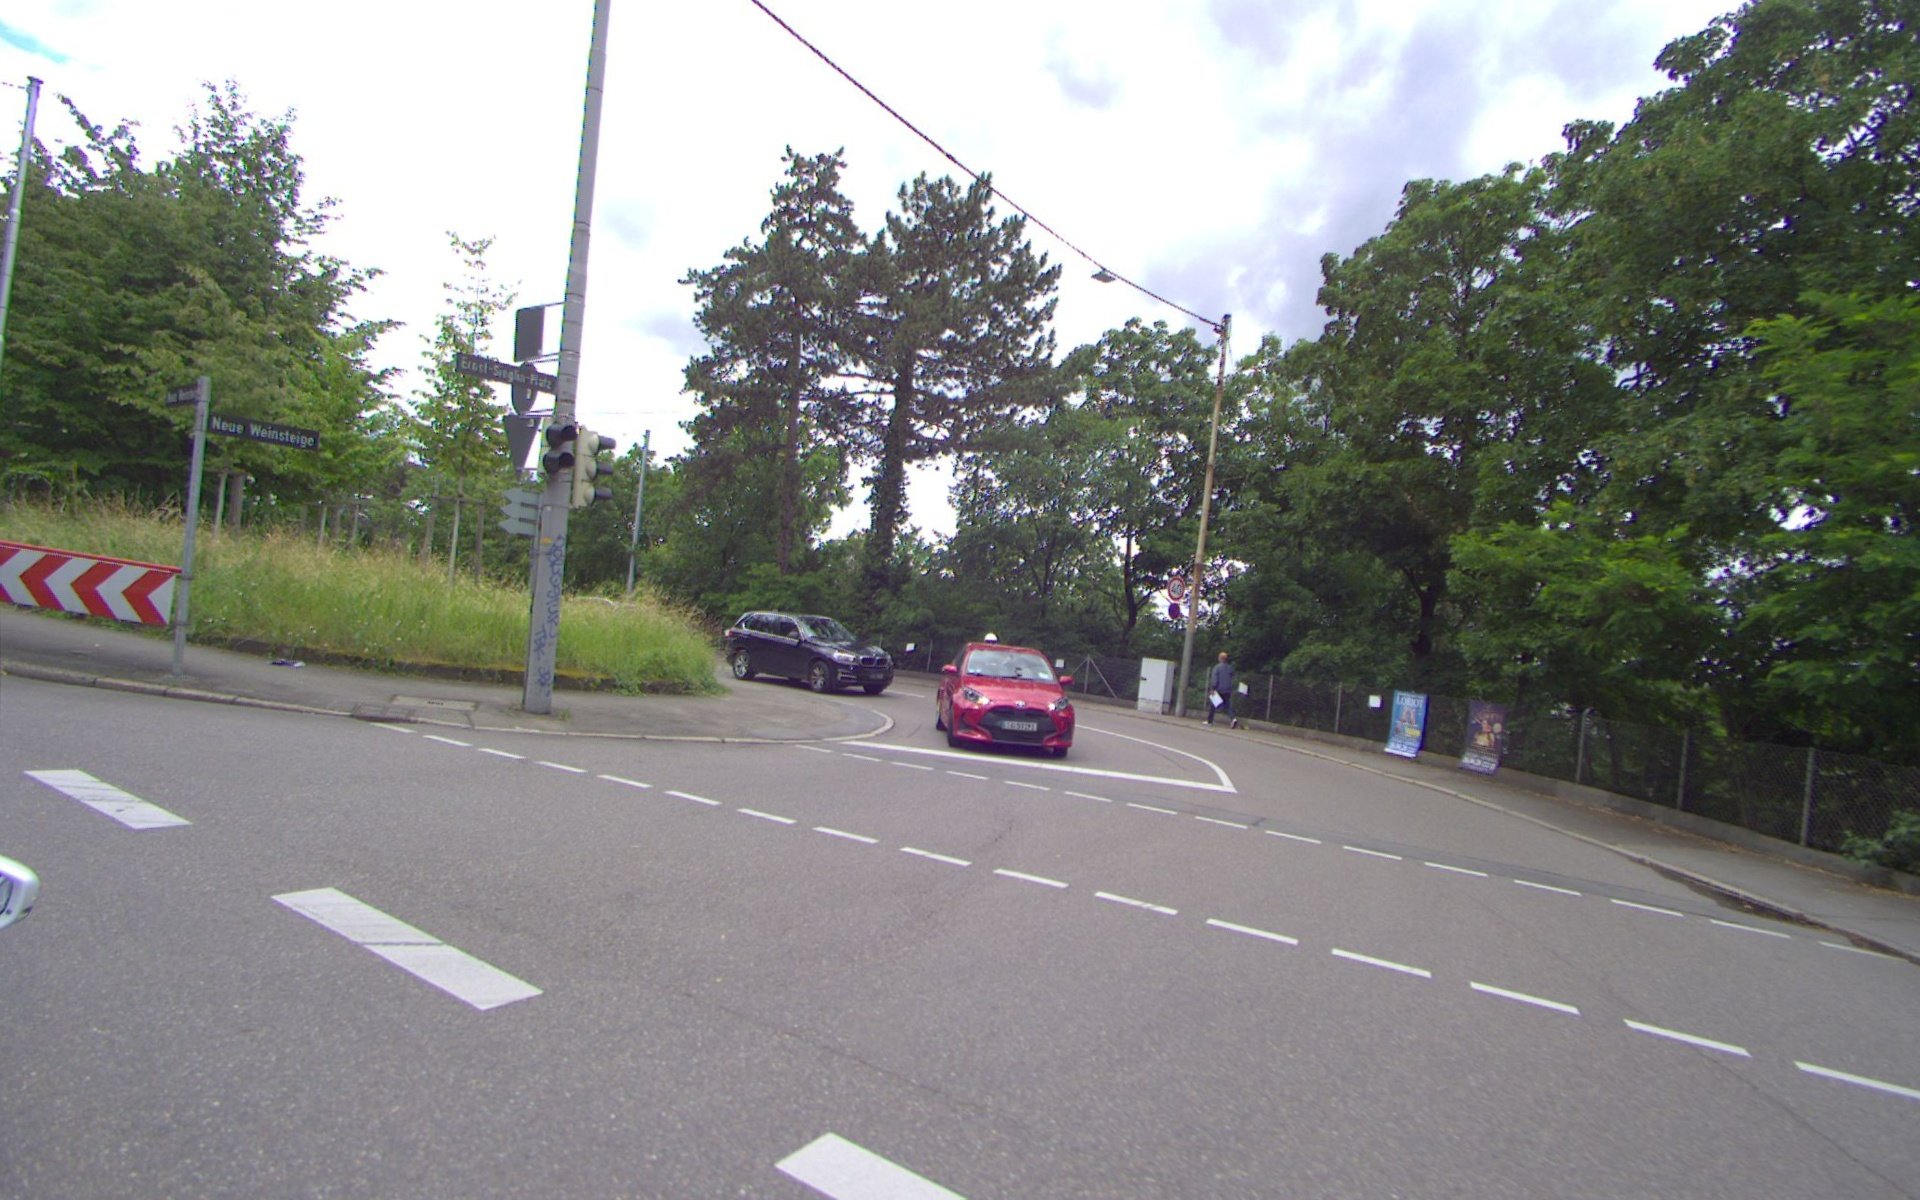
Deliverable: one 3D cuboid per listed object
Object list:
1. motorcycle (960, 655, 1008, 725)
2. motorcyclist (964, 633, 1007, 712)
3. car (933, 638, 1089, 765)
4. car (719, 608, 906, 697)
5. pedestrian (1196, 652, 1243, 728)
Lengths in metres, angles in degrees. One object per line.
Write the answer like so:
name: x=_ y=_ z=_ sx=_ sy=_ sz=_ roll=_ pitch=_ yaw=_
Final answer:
motorcycle: x=0.453 y=1.740 z=19.751 sx=0.590 sy=1.167 sz=1.579 roll=5 pitch=0 yaw=-8
motorcyclist: x=0.491 y=1.406 z=19.715 sx=0.591 sy=1.448 sz=0.756 roll=5 pitch=1 yaw=-8
car: x=0.622 y=1.404 z=15.101 sx=1.643 sy=1.485 sz=3.954 roll=6 pitch=-2 yaw=-6
car: x=-3.620 y=1.213 z=24.090 sx=4.615 sy=1.698 sz=1.810 roll=4 pitch=-1 yaw=42
pedestrian: x=5.890 y=2.038 z=22.869 sx=0.663 sy=1.652 sz=0.680 roll=2 pitch=2 yaw=-29
